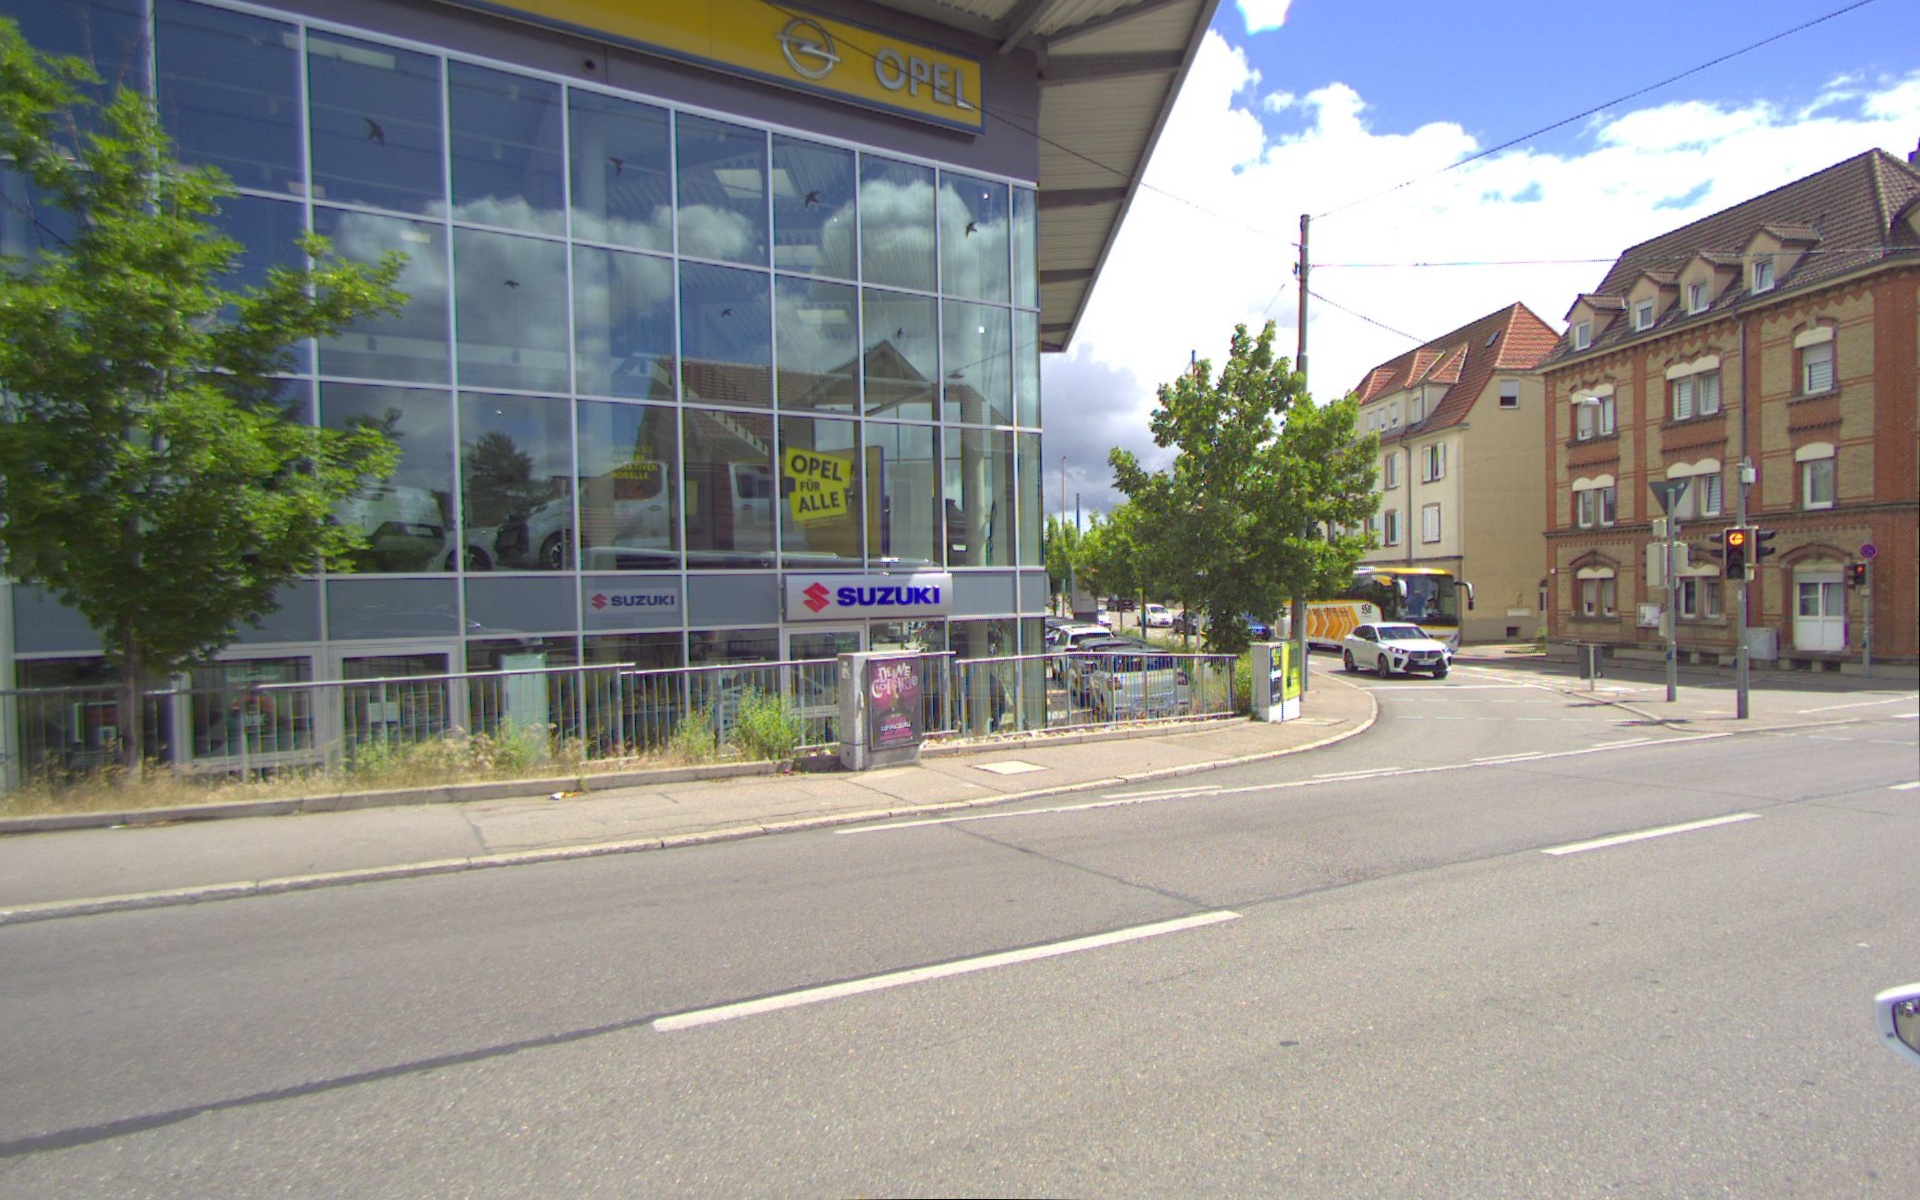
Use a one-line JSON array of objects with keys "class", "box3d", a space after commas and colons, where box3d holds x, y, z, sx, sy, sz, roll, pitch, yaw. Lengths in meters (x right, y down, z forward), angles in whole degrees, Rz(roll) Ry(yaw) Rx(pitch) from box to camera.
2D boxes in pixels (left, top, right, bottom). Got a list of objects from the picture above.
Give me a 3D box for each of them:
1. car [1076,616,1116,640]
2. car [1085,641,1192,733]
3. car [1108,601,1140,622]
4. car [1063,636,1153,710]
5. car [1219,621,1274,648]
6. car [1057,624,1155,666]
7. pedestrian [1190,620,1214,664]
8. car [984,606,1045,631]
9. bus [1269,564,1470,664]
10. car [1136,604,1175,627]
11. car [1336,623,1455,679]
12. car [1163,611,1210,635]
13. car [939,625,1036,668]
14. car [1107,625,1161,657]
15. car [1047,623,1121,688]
[{"class": "car", "box3d": [9.467, 1.918, 70.045, 1.823, 1.617, 3.996, 1, -1, -6]}, {"class": "car", "box3d": [3.561, 1.707, 20.557, 1.648, 1.582, 3.365, -1, 0, 1]}, {"class": "car", "box3d": [14.340, 0.993, 88.137, 1.791, 1.773, 3.997, 1, -1, -6]}, {"class": "car", "box3d": [3.555, 1.725, 24.705, 1.584, 1.547, 3.499, -1, 0, -2]}, {"class": "car", "box3d": [15.892, 1.881, 55.846, 1.717, 1.428, 3.999, 1, -1, -3]}, {"class": "car", "box3d": [5.431, 1.659, 37.589, 3.430, 1.497, 1.800, 1, -1, 1]}, {"class": "pedestrian", "box3d": [9.898, 1.709, 41.107, 0.744, 1.757, 1.145, 1, -1, 2]}, {"class": "car", "box3d": [3.643, 1.228, 67.518, 3.922, 1.574, 1.807, 1, -1, -1]}, {"class": "bus", "box3d": [17.086, 0.444, 43.393, 2.719, 3.670, 12.253, 1, 1, -5]}, {"class": "car", "box3d": [13.919, 1.103, 71.658, 1.874, 1.574, 3.999, 1, -1, -2]}, {"class": "car", "box3d": [13.135, 1.500, 30.577, 1.797, 1.572, 4.307, 0, -1, 0]}, {"class": "car", "box3d": [14.230, 1.458, 63.306, 1.874, 1.428, 3.999, 1, -1, -2]}, {"class": "car", "box3d": [0.986, 1.696, 37.178, 3.432, 1.467, 1.799, -1, 0, -3]}, {"class": "car", "box3d": [8.438, 1.969, 49.073, 1.766, 1.467, 3.498, 1, -1, -5]}, {"class": "car", "box3d": [3.578, 1.571, 29.441, 1.620, 1.703, 3.499, -1, 0, -2]}]
